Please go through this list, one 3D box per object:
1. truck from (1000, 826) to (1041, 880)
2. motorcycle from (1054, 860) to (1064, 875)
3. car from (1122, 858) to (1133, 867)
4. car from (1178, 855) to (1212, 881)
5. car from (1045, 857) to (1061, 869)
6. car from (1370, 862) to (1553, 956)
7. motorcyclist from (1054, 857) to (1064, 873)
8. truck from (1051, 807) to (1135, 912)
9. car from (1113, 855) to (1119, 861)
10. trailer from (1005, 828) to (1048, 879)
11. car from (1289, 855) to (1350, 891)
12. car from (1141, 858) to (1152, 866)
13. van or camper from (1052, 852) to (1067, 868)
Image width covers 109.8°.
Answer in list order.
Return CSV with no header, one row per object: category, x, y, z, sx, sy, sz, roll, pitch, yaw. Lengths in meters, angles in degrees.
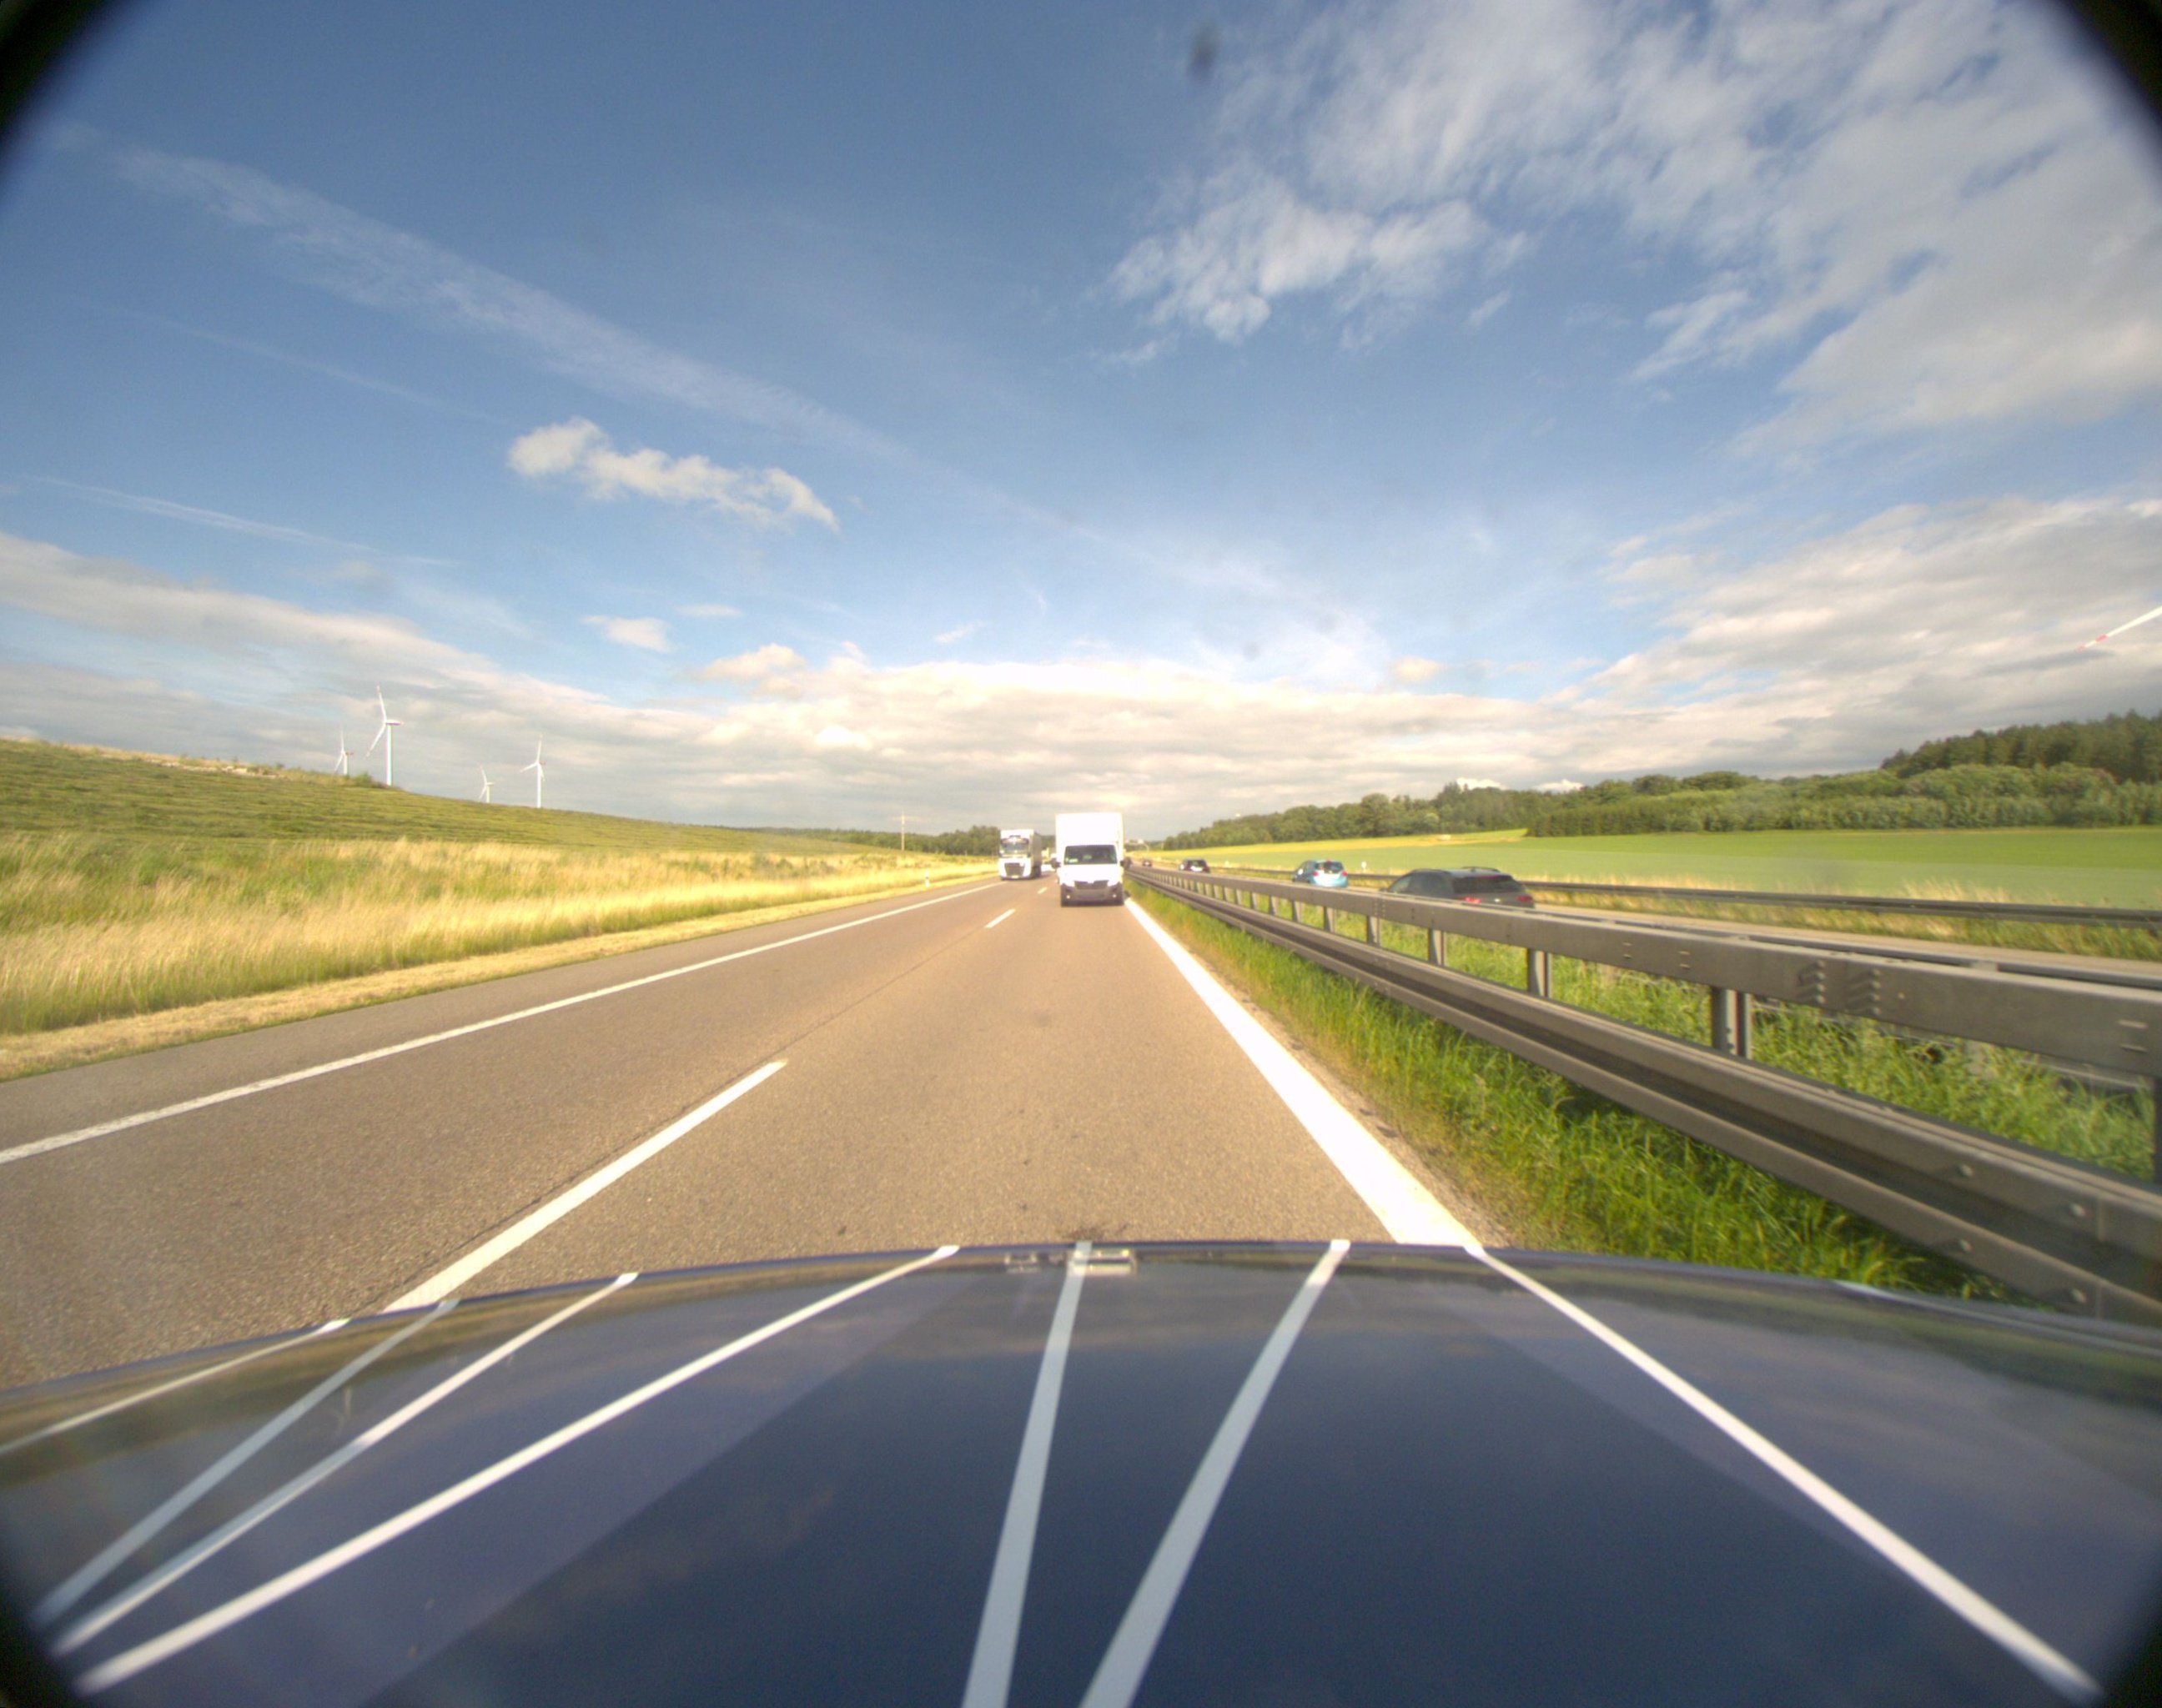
truck,-4.782,-0.056,61.466,2.607,4.016,6.120,-3,-1,0
motorcycle,-2.305,1.352,78.671,0.898,1.447,2.269,-2,1,0
car,8.257,1.510,134.683,1.754,1.594,4.265,-2,1,0
car,8.213,0.979,55.218,1.827,1.759,4.363,-2,1,1
car,-3.696,1.146,99.902,1.871,1.409,4.461,-2,1,1
car,7.368,0.970,15.205,1.601,1.506,4.159,-2,1,1
motorcyclist,-2.292,1.146,78.662,0.898,1.608,1.022,-2,1,0
truck,0.377,0.197,28.935,2.502,3.140,11.163,-2,0,0
car,10.997,1.222,237.299,1.619,1.512,3.999,-2,1,0
trailer,-4.684,0.035,68.220,2.623,4.016,13.700,-3,-1,0
car,11.583,0.899,37.168,1.739,1.579,4.117,-2,1,1
car,12.356,1.538,143.728,1.754,1.470,4.479,-2,1,0
van or camper,-3.417,0.967,123.386,2.102,2.530,6.412,-2,1,1
